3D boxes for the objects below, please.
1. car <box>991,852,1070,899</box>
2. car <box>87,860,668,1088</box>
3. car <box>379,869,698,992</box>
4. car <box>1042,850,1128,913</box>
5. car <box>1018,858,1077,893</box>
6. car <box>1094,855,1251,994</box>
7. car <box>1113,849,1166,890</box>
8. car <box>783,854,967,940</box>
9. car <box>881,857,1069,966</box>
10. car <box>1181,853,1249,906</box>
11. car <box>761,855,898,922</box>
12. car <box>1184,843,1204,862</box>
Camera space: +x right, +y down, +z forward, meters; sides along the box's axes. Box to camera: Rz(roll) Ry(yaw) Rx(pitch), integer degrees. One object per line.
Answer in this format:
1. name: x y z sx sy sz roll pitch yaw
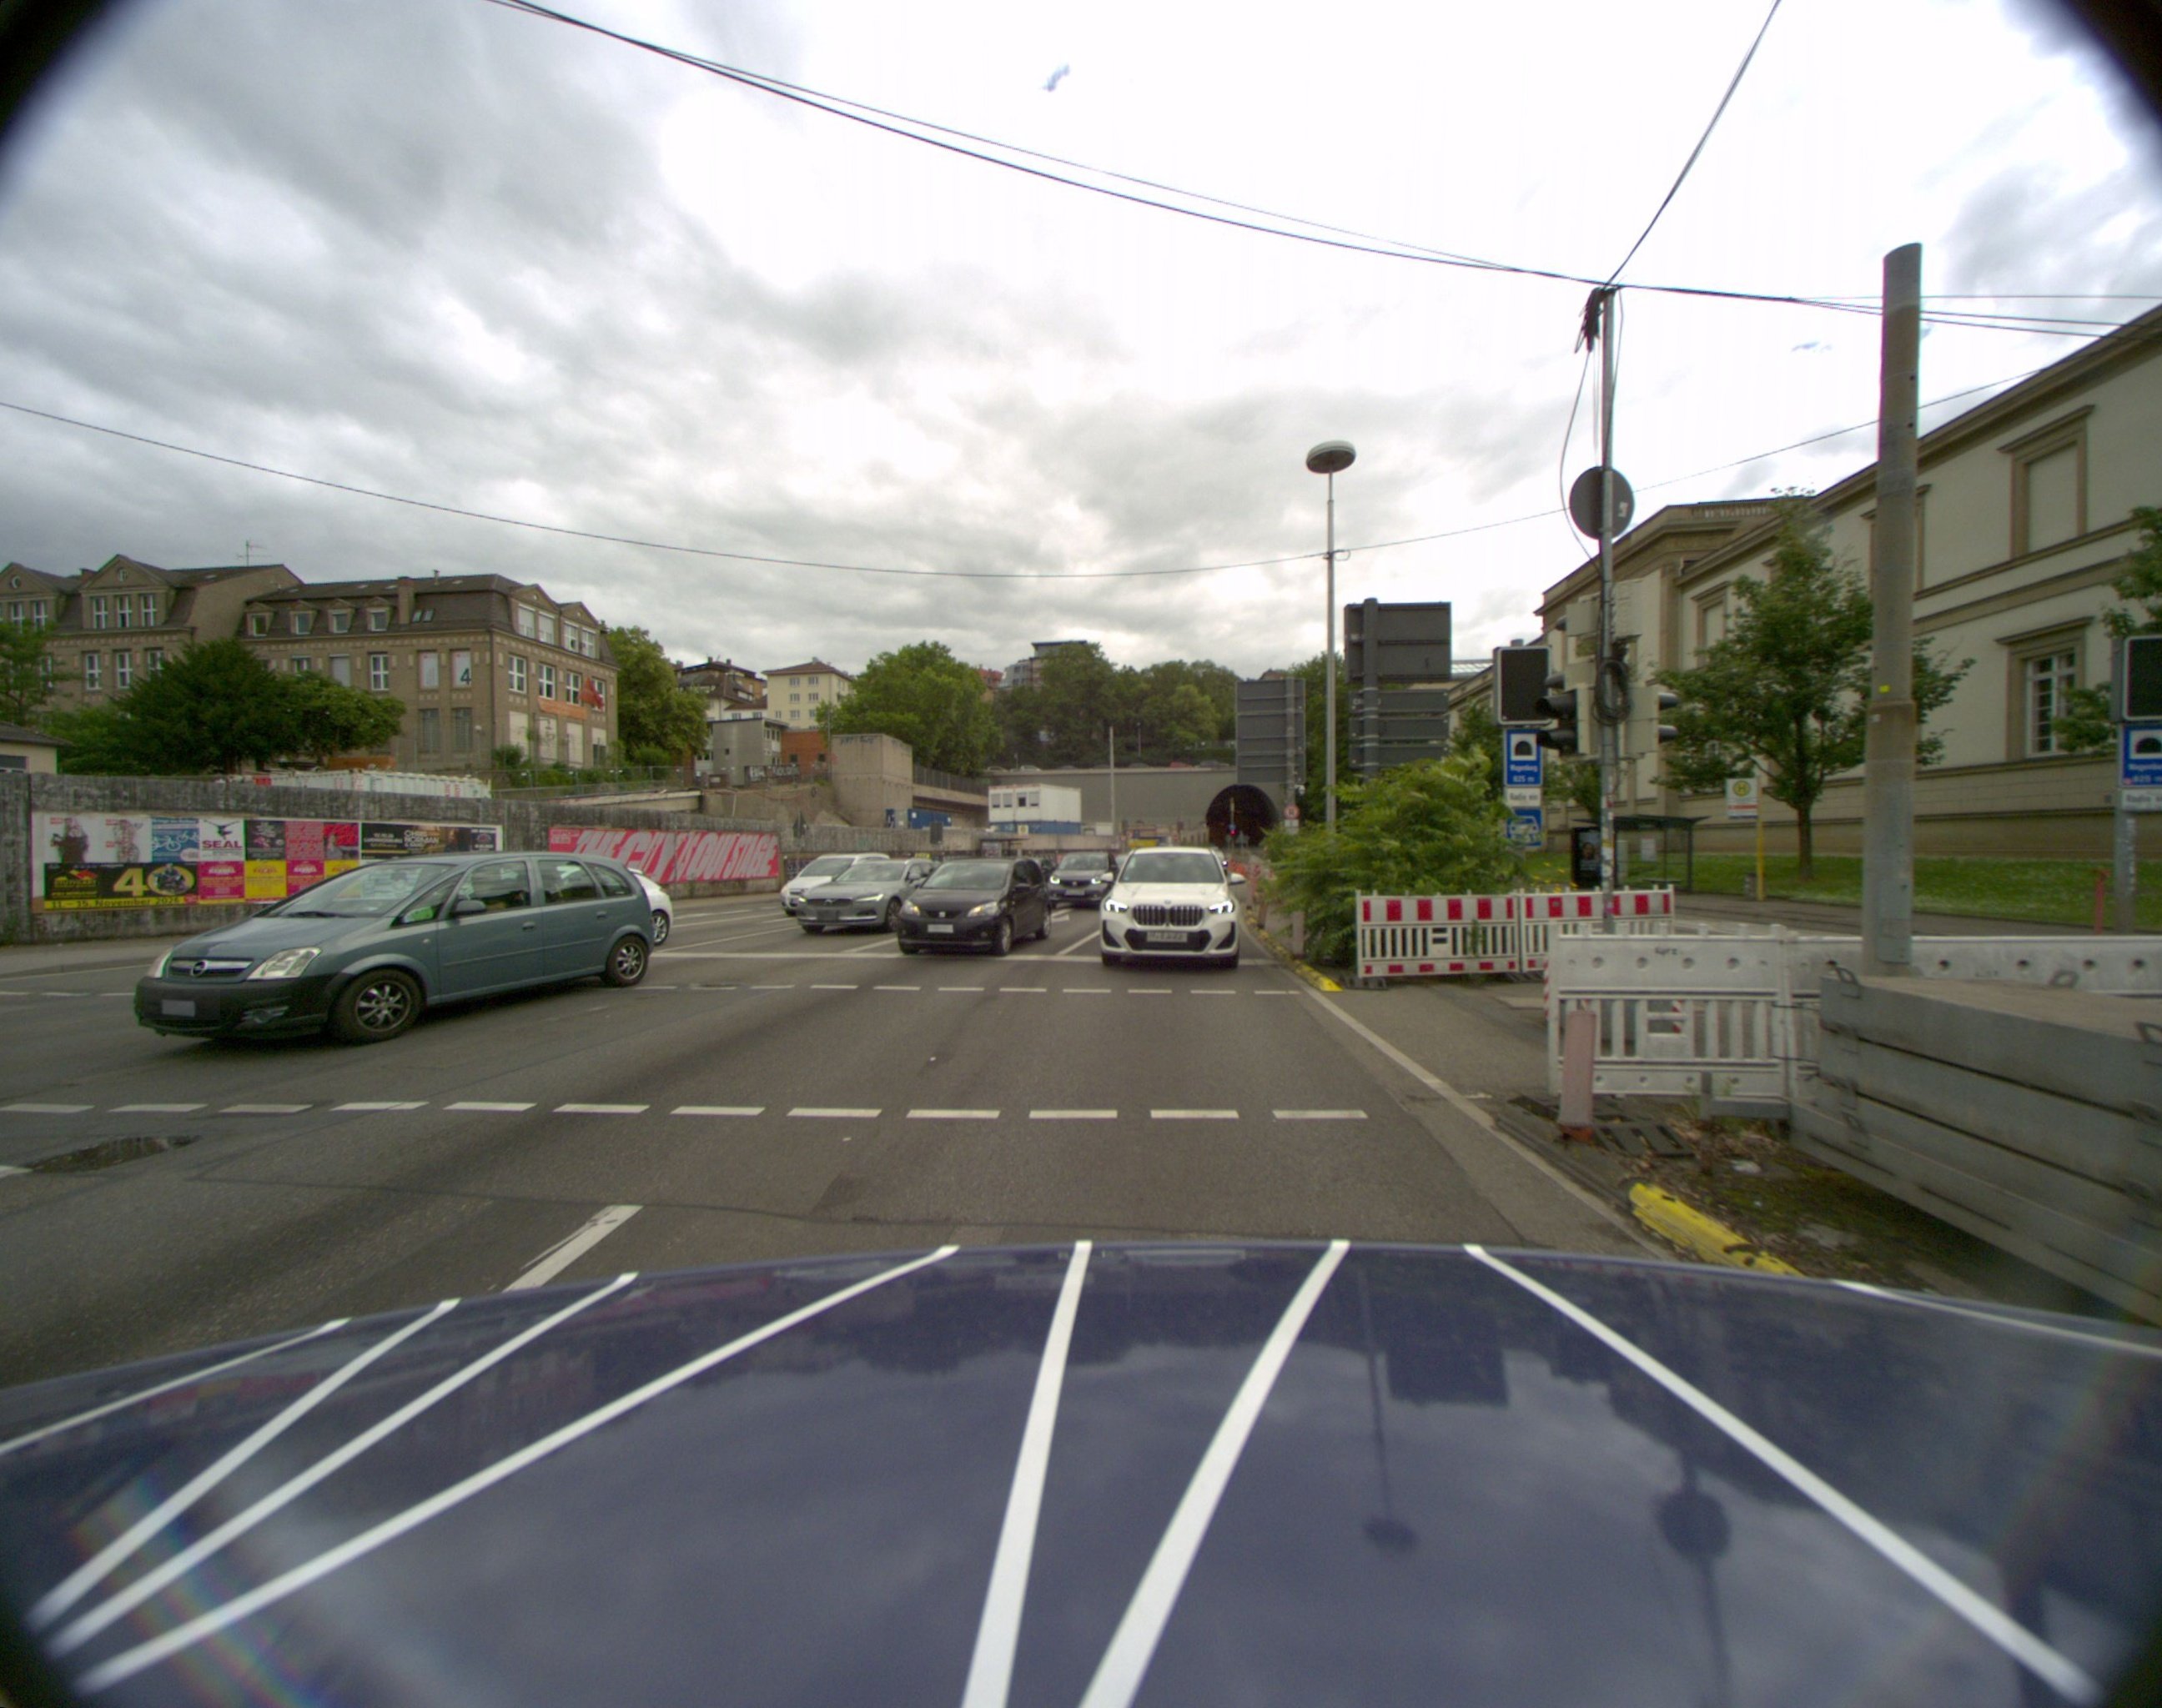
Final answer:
1. car: -1.728 0.727 27.695 1.809 1.569 4.442 0 0 10
2. car: -6.302 0.880 7.550 1.690 1.565 3.958 0 1 11
3. car: -8.156 1.053 11.997 1.690 1.408 4.088 -1 1 8
4. car: 0.211 0.683 21.265 1.689 1.565 3.716 2 1 11
5. car: -1.559 0.988 36.796 1.808 1.569 4.443 0 0 11
6. car: 1.281 0.817 10.715 1.811 1.595 3.715 0 0 7
7. car: 2.447 0.573 30.942 1.690 1.565 3.997 0 0 11
8. car: -4.177 0.787 16.343 1.908 1.569 4.687 0 0 11
9. car: -1.530 0.798 12.749 1.731 1.461 4.423 0 0 11
10. car: 4.316 0.762 25.010 1.997 1.543 4.002 0 1 7
11. car: -6.683 0.860 20.701 1.690 1.565 4.074 -2 1 11
12. car: 9.825 -0.109 65.730 1.567 1.565 3.292 0 0 11
